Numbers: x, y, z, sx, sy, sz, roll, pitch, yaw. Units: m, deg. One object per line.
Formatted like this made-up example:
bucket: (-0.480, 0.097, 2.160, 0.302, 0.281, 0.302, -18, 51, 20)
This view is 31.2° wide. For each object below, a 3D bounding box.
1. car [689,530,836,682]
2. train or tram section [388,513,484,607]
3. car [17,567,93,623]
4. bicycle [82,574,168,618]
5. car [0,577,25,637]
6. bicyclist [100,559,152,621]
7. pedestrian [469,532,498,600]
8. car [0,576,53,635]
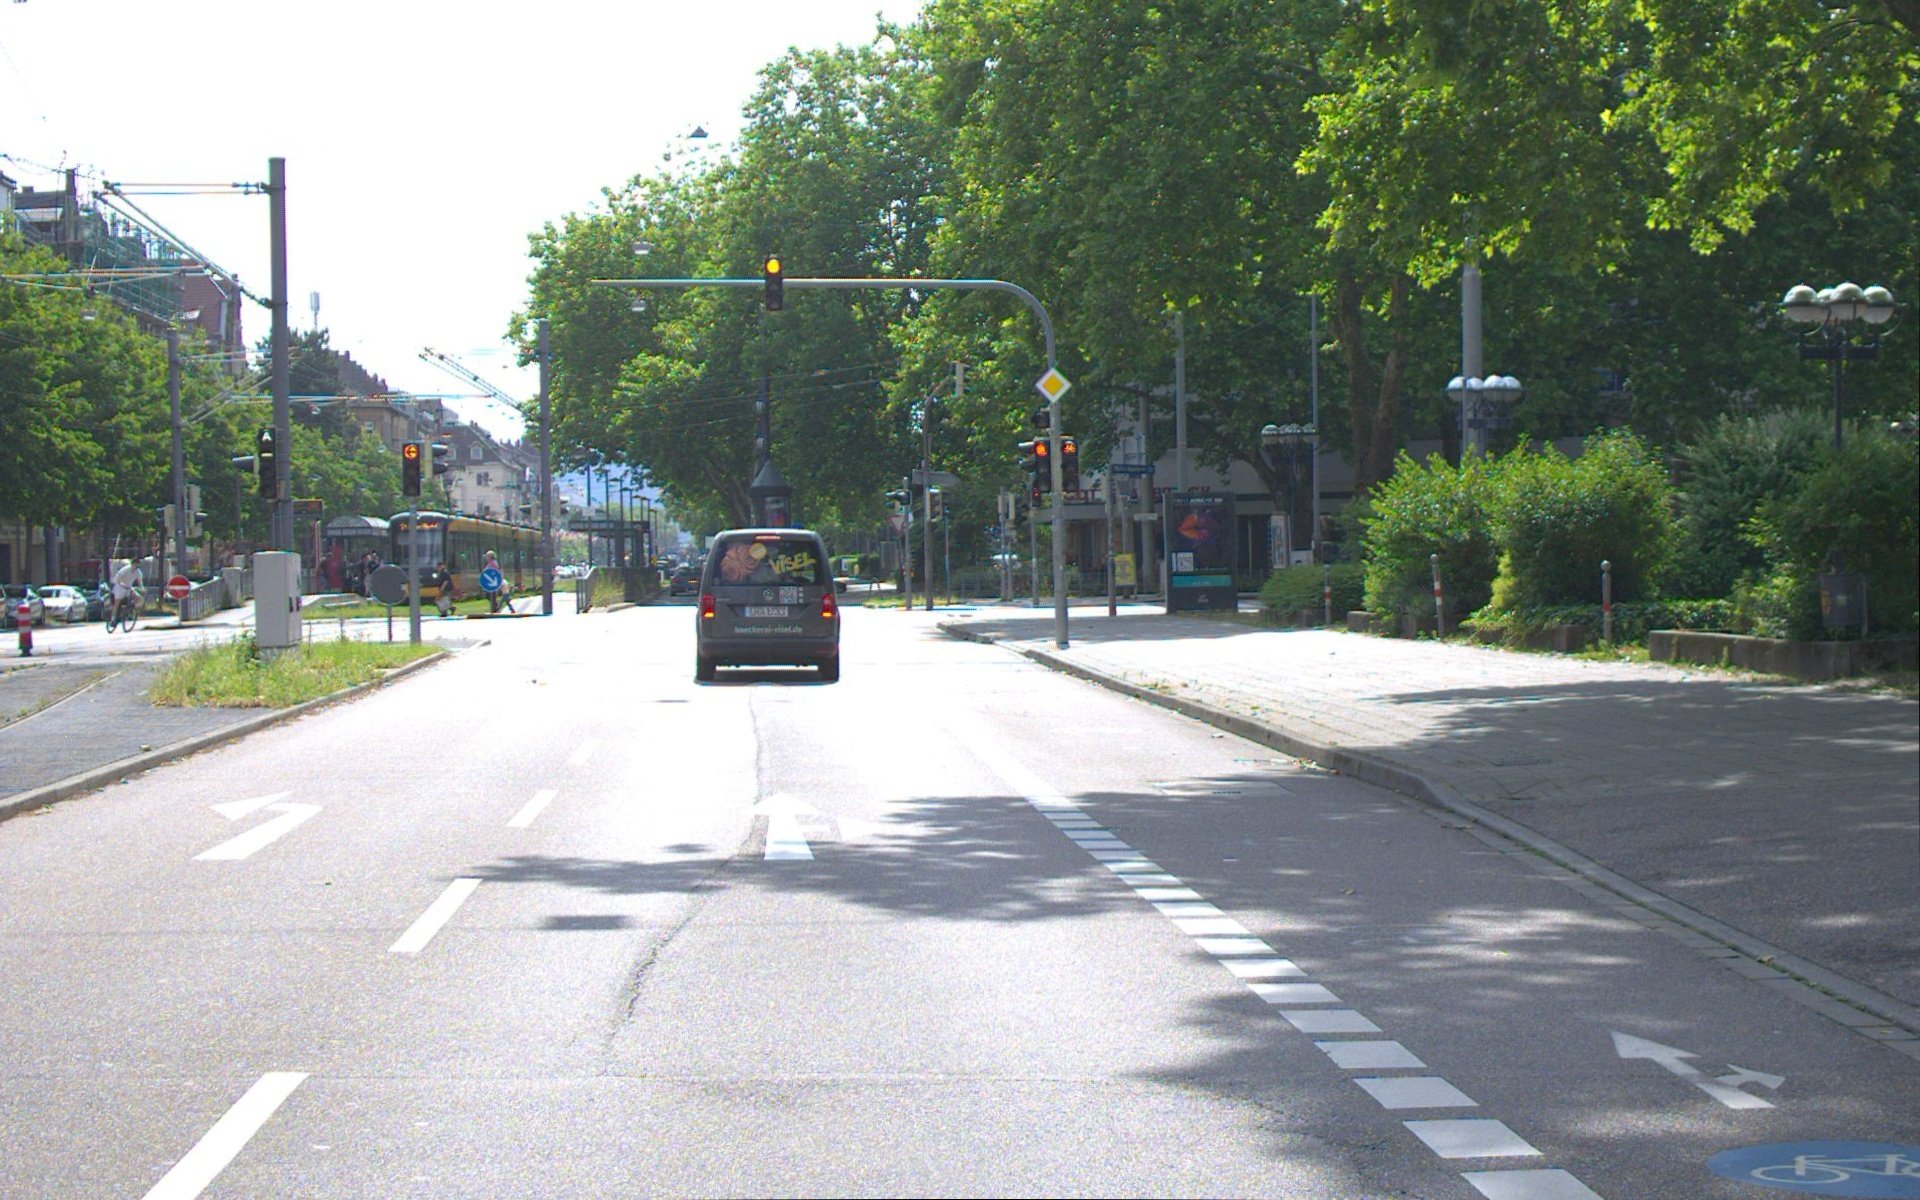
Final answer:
car: (-2.438, 0.054, 42.551, 1.750, 1.802, 3.475, 0, 1, -3)
train or tram section: (-19.610, -1.521, 129.201, 2.240, 3.320, 12.973, -2, 1, -3)
car: (-34.275, -0.213, 130.260, 1.993, 2.007, 4.001, -2, 1, -3)
bicycle: (-20.795, -0.104, 85.589, 2.307, 1.045, 0.895, -1, 1, 41)
car: (-33.268, 0.244, 116.947, 1.993, 2.007, 4.001, -2, 1, -3)
bicyclist: (-20.761, -0.241, 85.576, 1.000, 1.506, 0.779, -1, 1, 41)
pedestrian: (-12.714, -0.911, 91.753, 0.659, 1.778, 0.660, -1, 1, -3)
car: (-33.581, 0.187, 121.779, 1.993, 2.007, 4.001, -2, 1, -3)
